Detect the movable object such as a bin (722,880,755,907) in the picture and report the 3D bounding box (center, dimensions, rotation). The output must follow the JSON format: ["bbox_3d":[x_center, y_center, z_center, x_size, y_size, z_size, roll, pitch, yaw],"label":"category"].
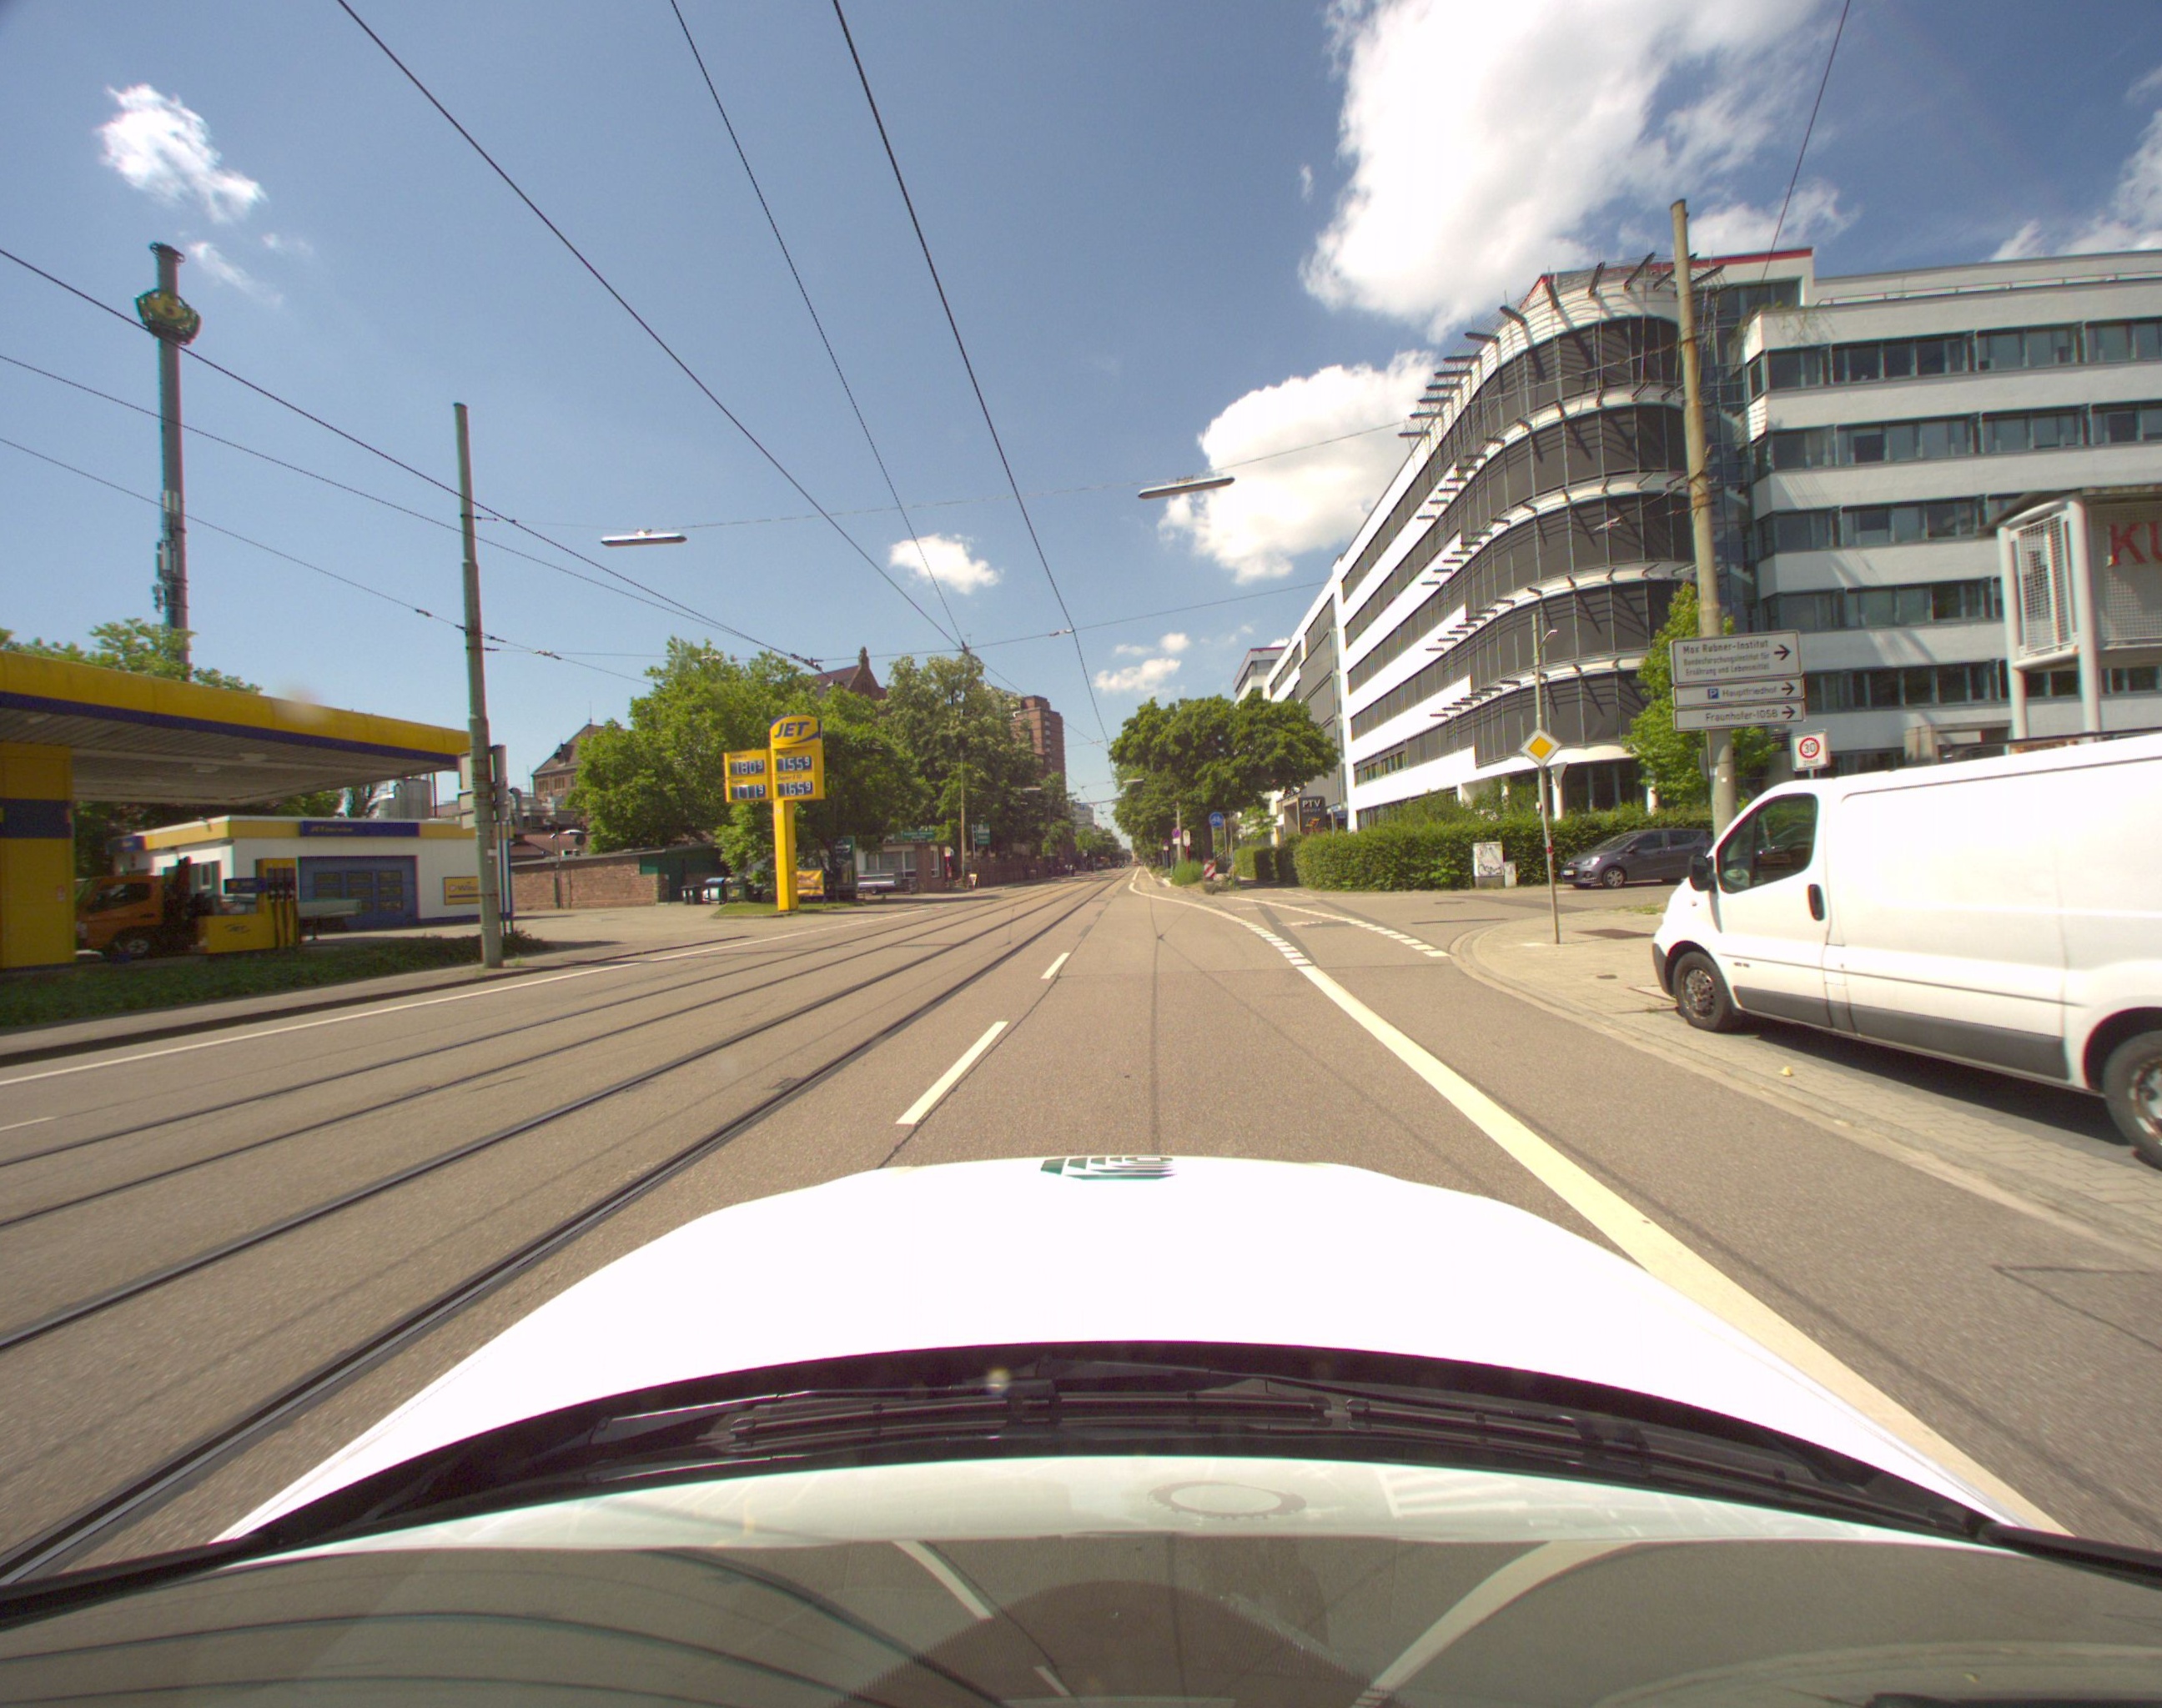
[{"bbox_3d":[-17.985,2.078,42.815,1.339,1.354,0.758,-3,-1,2],"label":"movable object such as a bin"}]

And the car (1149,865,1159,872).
[{"bbox_3d":[16.020,3.202,178.064,1.985,1.310,4.004,-3,-1,4],"label":"car"}]

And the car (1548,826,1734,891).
[{"bbox_3d":[14.595,0.118,21.385,3.584,1.451,1.760,-3,-1,4],"label":"car"}]

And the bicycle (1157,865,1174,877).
[{"bbox_3d":[9.138,1.833,87.905,1.746,1.166,0.530,-3,-1,1],"label":"bicycle"}]

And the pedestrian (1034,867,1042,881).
[{"bbox_3d":[-5.225,2.453,99.124,0.740,1.728,0.868,-3,-1,4],"label":"pedestrian"}]

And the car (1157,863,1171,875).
[{"bbox_3d":[10.946,1.962,107.075,1.626,1.501,4.004,-3,-1,4],"label":"car"}]

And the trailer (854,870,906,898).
[{"bbox_3d":[-13.028,1.946,52.918,2.817,1.704,1.623,-3,-1,5],"label":"trailer"}]

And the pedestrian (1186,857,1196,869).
[{"bbox_3d":[16.526,1.355,122.243,1.211,1.827,0.831,-3,-1,0],"label":"pedestrian"}]

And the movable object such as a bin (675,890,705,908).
[{"bbox_3d":[-21.310,2.460,44.379,1.332,0.873,0.762,-3,-1,24],"label":"movable object such as a bin"}]

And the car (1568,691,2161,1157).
[{"bbox_3d":[5.719,0.248,5.309,1.984,1.991,5.521,-5,-1,4],"label":"car"}]

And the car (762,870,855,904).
[{"bbox_3d":[-14.891,1.809,44.542,4.357,1.590,1.976,-2,-1,-42],"label":"car"}]

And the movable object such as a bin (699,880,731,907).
[{"bbox_3d":[-19.536,2.081,43.468,1.334,1.354,0.761,-3,-1,16],"label":"movable object such as a bin"}]

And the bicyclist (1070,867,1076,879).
[{"bbox_3d":[-1.075,2.666,112.913,0.639,1.679,0.815,-3,-1,2],"label":"bicyclist"}]

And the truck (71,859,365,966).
[{"bbox_3d":[-23.272,1.451,22.224,1.974,2.498,5.236,-3,-2,35],"label":"truck"}]

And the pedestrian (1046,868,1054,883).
[{"bbox_3d":[-3.830,2.685,101.866,0.811,1.770,0.925,-3,-1,4],"label":"pedestrian"}]

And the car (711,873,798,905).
[{"bbox_3d":[-19.088,2.035,47.685,4.355,1.592,1.888,-2,-1,-39],"label":"car"}]

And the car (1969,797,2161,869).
[{"bbox_3d":[25.461,-0.522,20.536,3.969,1.606,1.760,-3,-1,4],"label":"car"}]

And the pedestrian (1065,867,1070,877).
[{"bbox_3d":[-2.259,3.052,138.100,0.740,1.728,0.868,-3,-1,4],"label":"pedestrian"}]

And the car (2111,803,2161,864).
[{"bbox_3d":[29.051,-0.608,20.405,3.969,1.500,1.760,-3,-1,4],"label":"car"}]

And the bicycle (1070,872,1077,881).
[{"bbox_3d":[-1.034,3.090,112.790,0.698,1.204,2.242,-5,-1,4],"label":"bicycle"}]

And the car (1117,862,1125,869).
[{"bbox_3d":[12.477,3.660,253.191,1.983,2.014,4.007,-3,-1,6],"label":"car"}]

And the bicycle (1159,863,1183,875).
[{"bbox_3d":[9.900,1.647,89.371,2.496,1.210,0.649,-3,-1,8],"label":"bicycle"}]

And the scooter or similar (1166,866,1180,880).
[{"bbox_3d":[8.068,1.650,71.433,1.054,1.156,0.371,-4,-2,4],"label":"scooter or similar"}]
